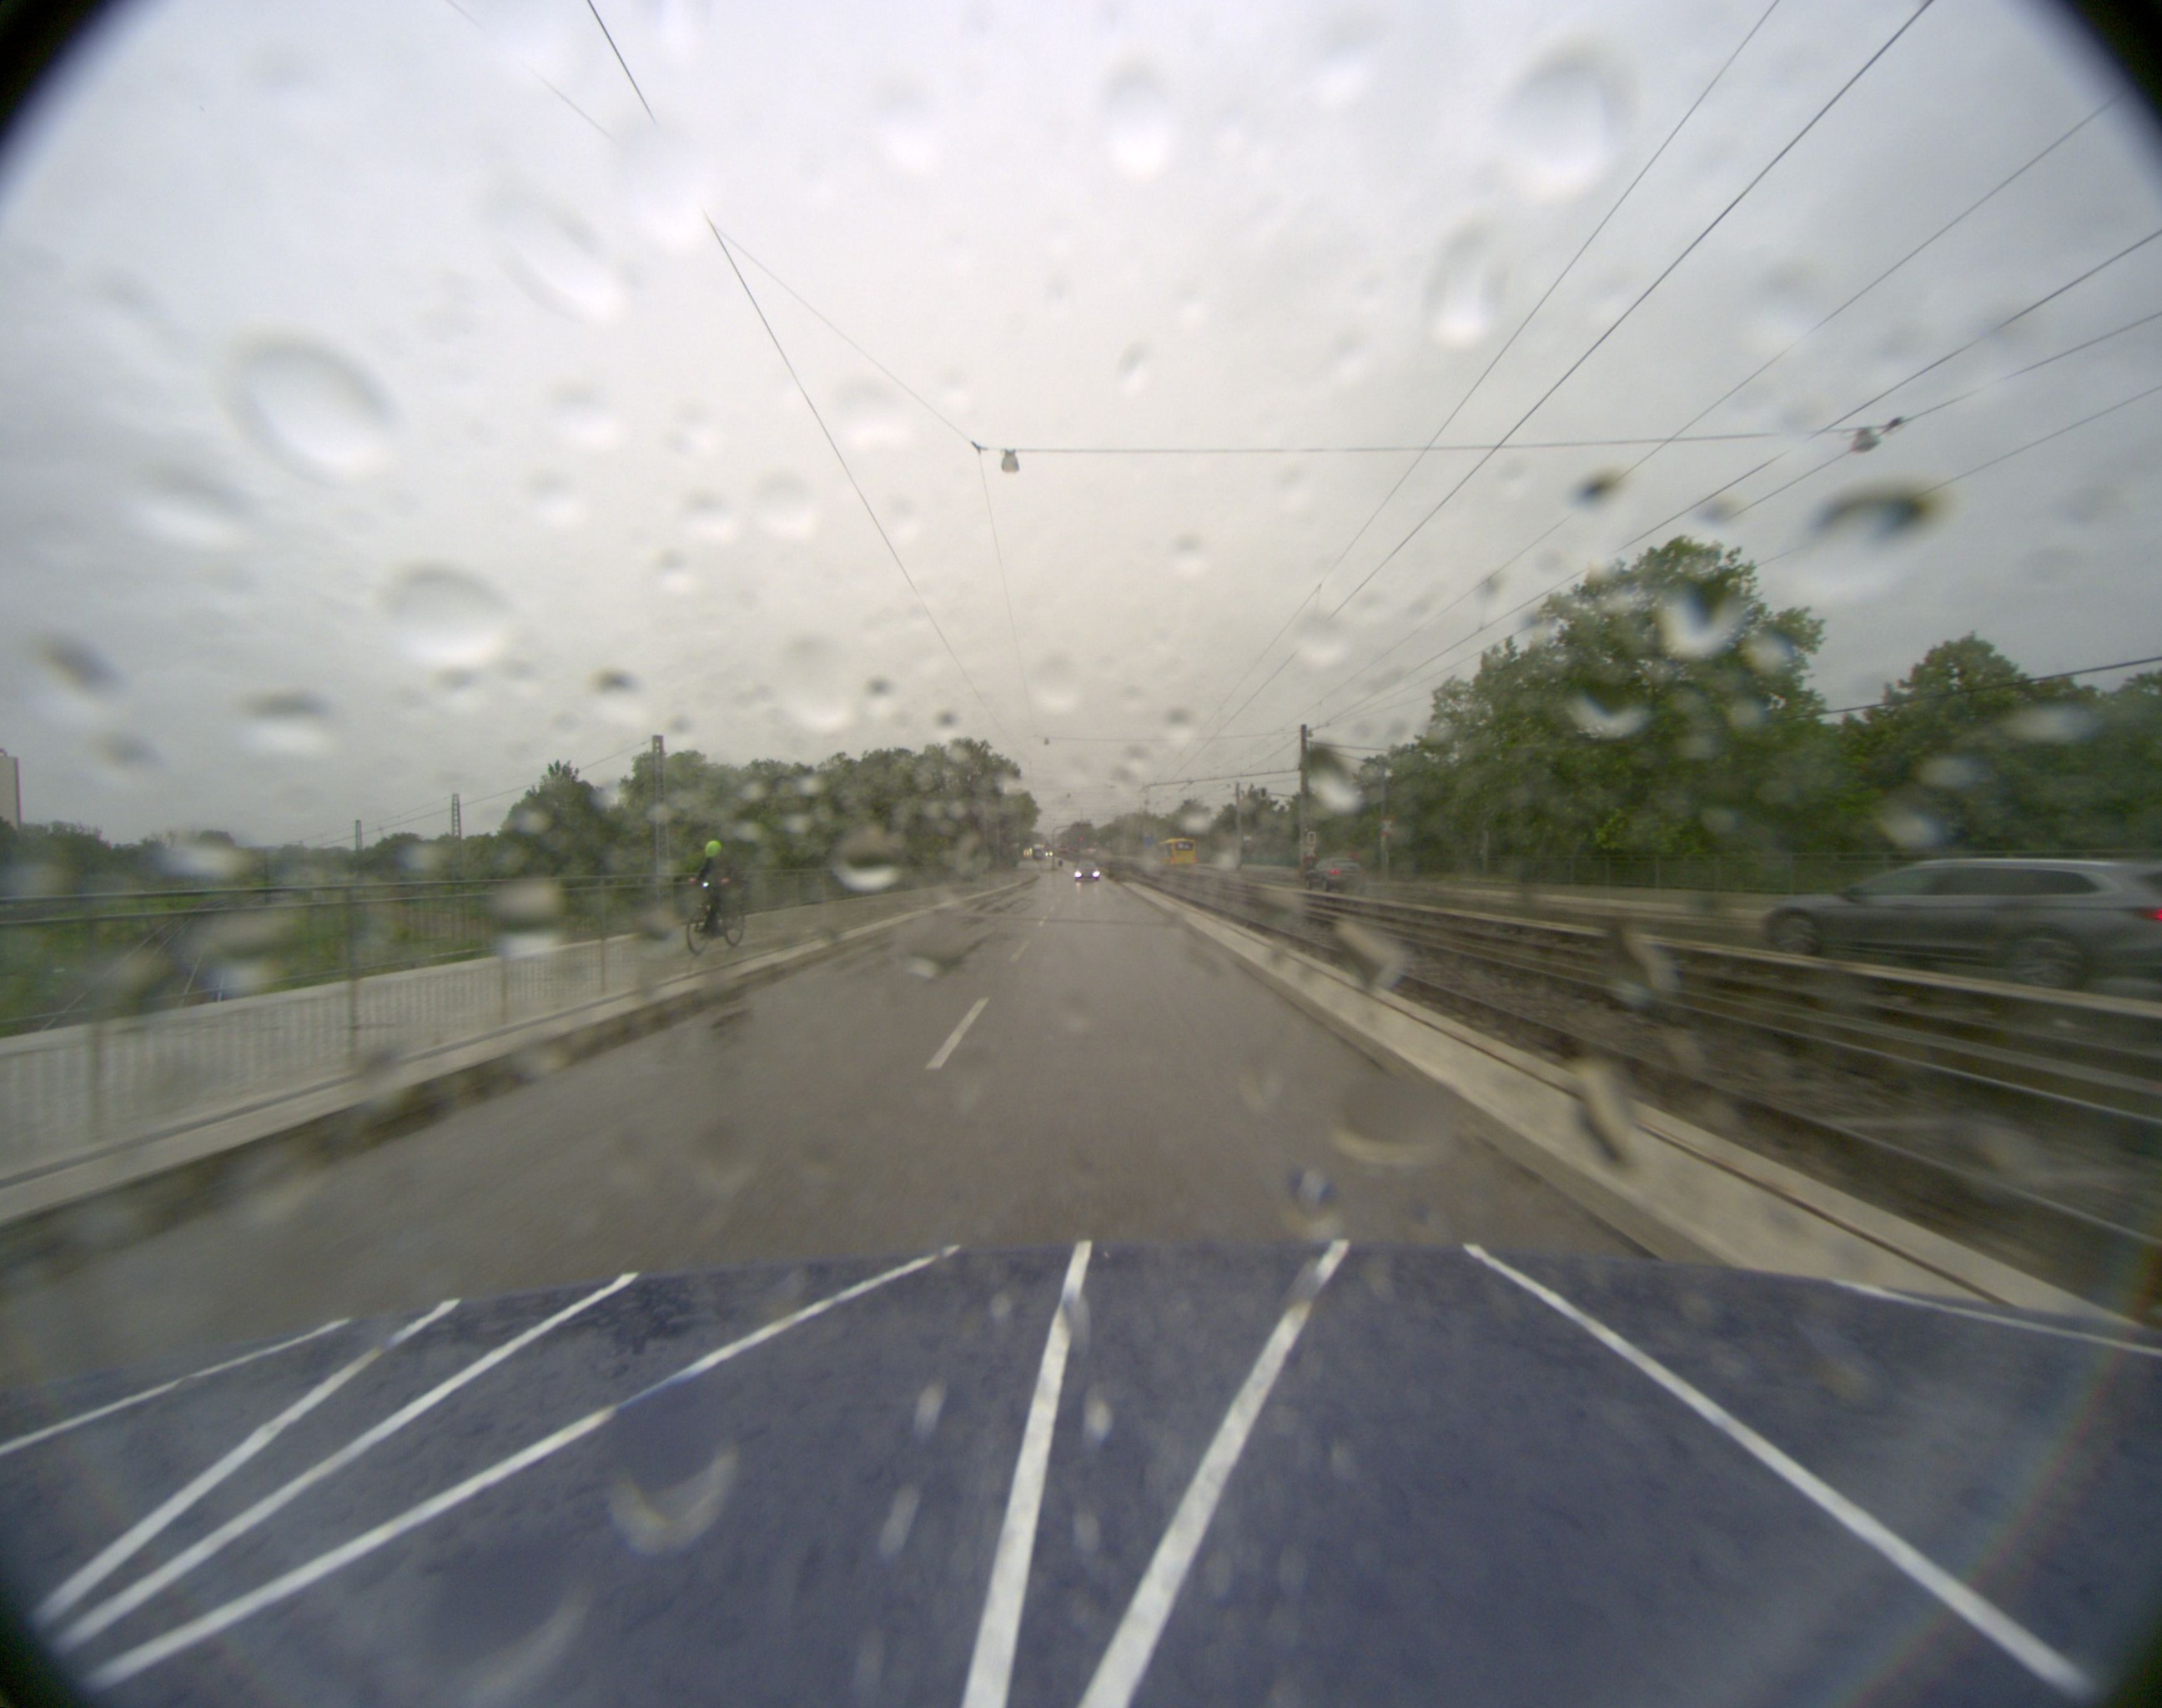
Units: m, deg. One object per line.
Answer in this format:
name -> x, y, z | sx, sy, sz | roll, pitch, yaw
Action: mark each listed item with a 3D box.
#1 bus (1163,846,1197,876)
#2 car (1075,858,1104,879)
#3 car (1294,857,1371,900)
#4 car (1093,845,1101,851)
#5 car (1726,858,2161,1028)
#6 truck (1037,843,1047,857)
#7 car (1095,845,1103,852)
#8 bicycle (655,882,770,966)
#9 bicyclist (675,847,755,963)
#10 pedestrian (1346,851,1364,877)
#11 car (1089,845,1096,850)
bus -> 11.812, 0.870, 91.303 | 2.715, 3.321, 10.994 | 1, -1, 0
car -> 0.658, 1.129, 61.278 | 1.999, 1.497, 4.194 | -3, 0, -4
car -> 11.678, 1.099, 35.641 | 1.998, 1.707, 4.940 | 1, 2, 0
car -> 5.137, -1.899, 240.635 | 1.999, 2.032, 5.025 | -3, 1, -4
car -> 11.384, 0.886, 9.582 | 1.999, 1.501, 5.111 | 1, 2, -2
truck -> -11.797, -1.188, 229.156 | 2.568, 3.847, 7.843 | -3, 0, -4
car -> 5.393, -1.567, 227.185 | 1.999, 2.032, 5.025 | -3, 1, -4
bicycle -> -5.905, 1.076, 12.354 | 0.725, 1.122, 2.167 | -3, 1, 1
bicyclist -> -5.910, 0.795, 12.317 | 0.727, 1.754, 0.949 | -3, 2, 1
pedestrian -> 20.013, 0.733, 55.512 | 0.866, 1.808, 1.042 | -3, 2, -1
car -> 4.061, -2.400, 261.578 | 1.999, 1.639, 5.368 | -3, 1, -4
